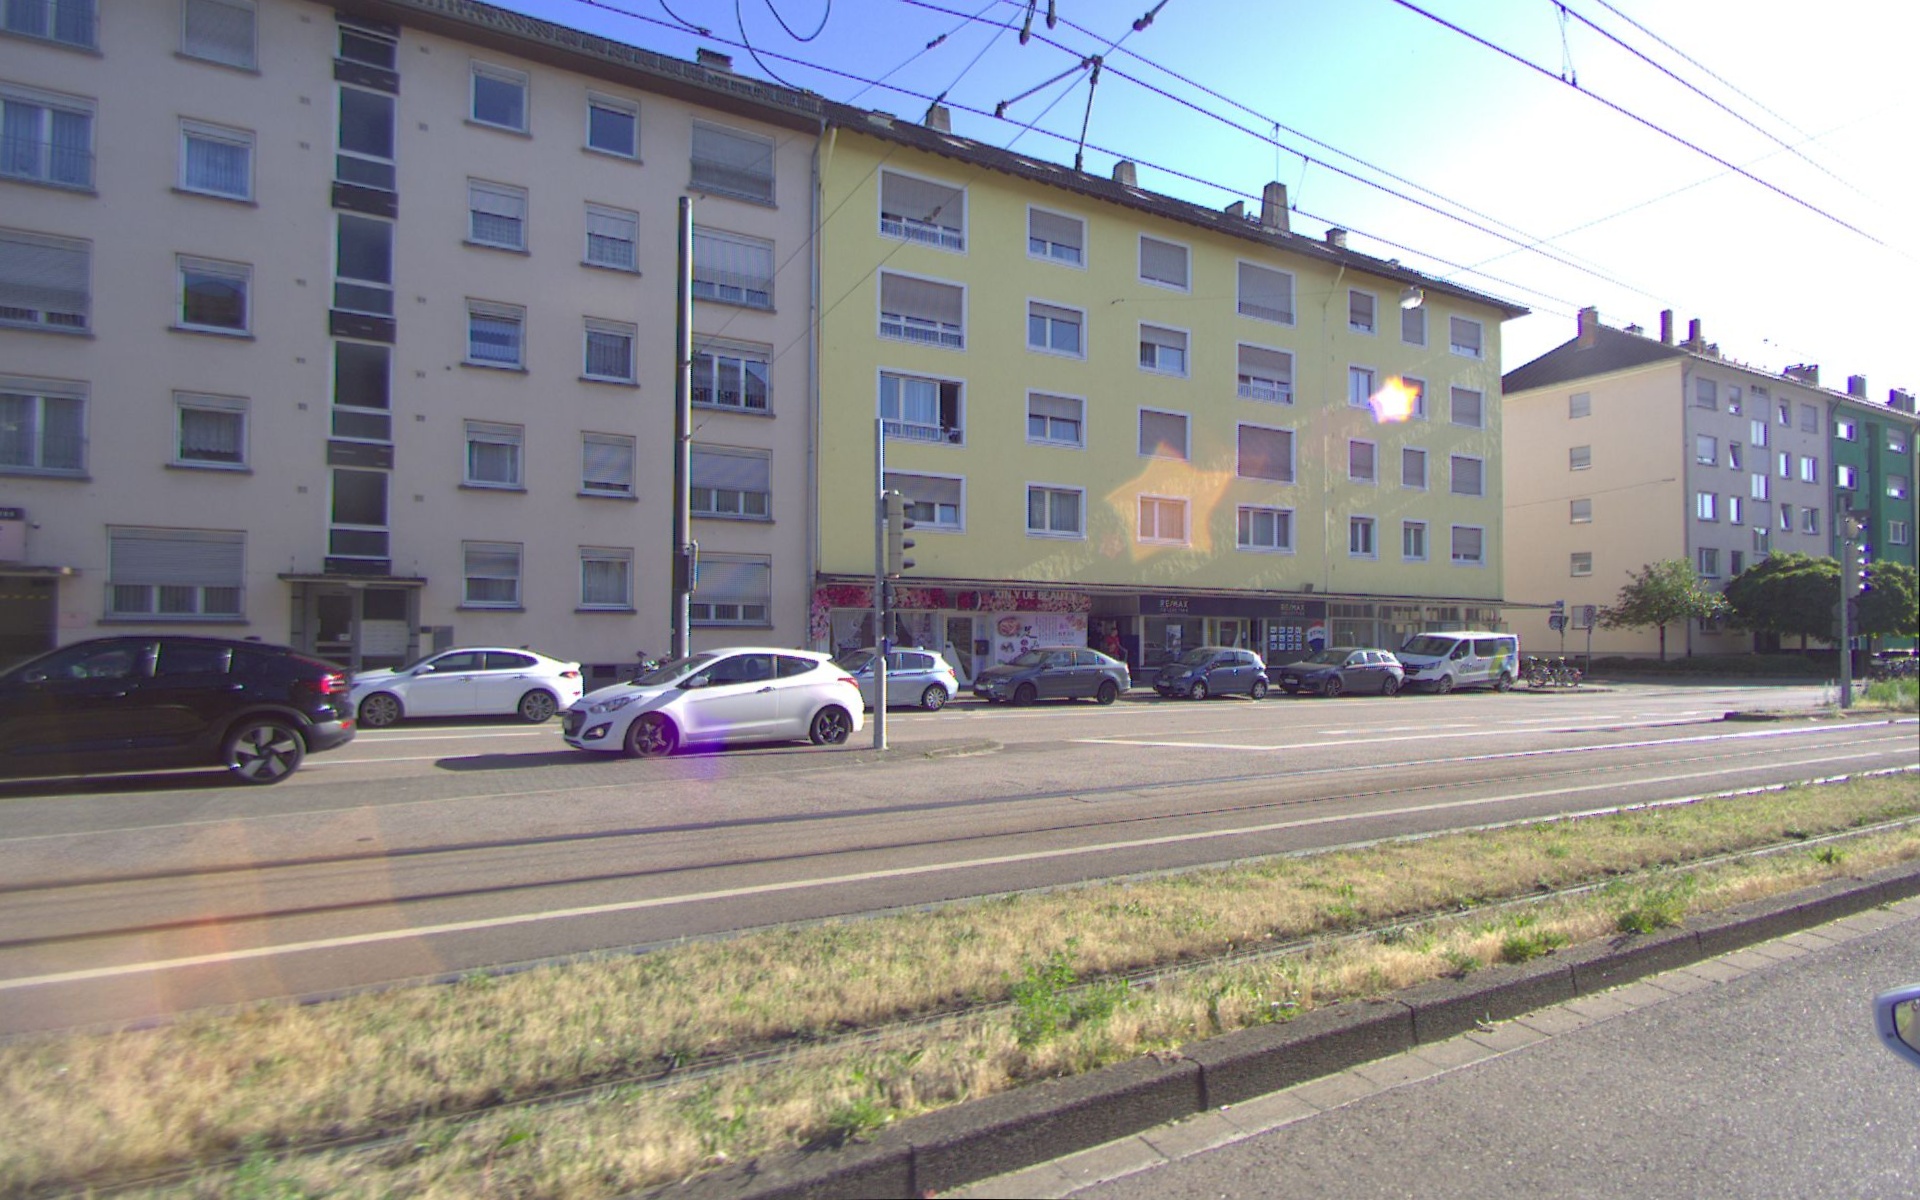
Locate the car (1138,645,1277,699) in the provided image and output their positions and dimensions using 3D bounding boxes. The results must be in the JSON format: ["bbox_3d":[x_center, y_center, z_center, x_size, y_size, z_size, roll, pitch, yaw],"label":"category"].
[{"bbox_3d":[7.210,2.052,29.245,3.723,1.403,1.775,2,0,-29],"label":"car"}]

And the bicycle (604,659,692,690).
[{"bbox_3d":[-7.610,1.808,24.537,1.971,0.702,0.599,2,0,-29],"label":"bicycle"}]

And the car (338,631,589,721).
[{"bbox_3d":[-9.498,1.403,19.383,4.149,1.506,1.750,2,0,-30],"label":"car"}]

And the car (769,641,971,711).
[{"bbox_3d":[-2.072,1.724,23.510,4.365,1.403,1.773,2,0,-31],"label":"car"}]

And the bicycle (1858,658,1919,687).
[{"bbox_3d":[40.145,3.105,43.324,0.607,1.107,2.043,1,0,-22],"label":"bicycle"}]

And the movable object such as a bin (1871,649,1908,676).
[{"bbox_3d":[50.982,3.447,55.102,1.025,1.386,1.143,2,0,-26],"label":"movable object such as a bin"}]

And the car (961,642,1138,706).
[{"bbox_3d":[2.373,1.883,26.247,4.362,1.439,1.775,2,0,-30],"label":"car"}]

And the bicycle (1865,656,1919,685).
[{"bbox_3d":[40.736,3.056,43.604,0.607,1.107,2.043,1,0,-22],"label":"bicycle"}]

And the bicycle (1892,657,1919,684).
[{"bbox_3d":[42.803,3.165,44.544,0.607,1.107,2.043,1,0,-22],"label":"bicycle"}]

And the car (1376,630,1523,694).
[{"bbox_3d":[16.926,2.099,34.648,5.440,1.975,1.982,2,0,-32],"label":"car"}]

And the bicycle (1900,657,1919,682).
[{"bbox_3d":[43.840,3.194,45.474,0.603,1.107,2.054,2,0,-1],"label":"bicycle"}]

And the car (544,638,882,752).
[{"bbox_3d":[-3.454,1.257,14.407,4.371,1.403,1.822,2,-3,-35],"label":"car"}]

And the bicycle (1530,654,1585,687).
[{"bbox_3d":[22.477,2.646,37.818,0.385,1.120,1.812,1,0,-28],"label":"bicycle"}]

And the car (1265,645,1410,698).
[{"bbox_3d":[11.921,2.209,31.637,4.541,1.494,1.775,2,0,-30],"label":"car"}]

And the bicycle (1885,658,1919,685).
[{"bbox_3d":[42.180,3.161,44.238,0.607,1.107,2.043,1,0,-22],"label":"bicycle"}]

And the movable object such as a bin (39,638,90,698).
[{"bbox_3d":[-16.984,1.281,19.056,0.539,1.065,0.769,1,0,-29],"label":"movable object such as a bin"}]

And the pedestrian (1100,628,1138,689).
[{"bbox_3d":[5.034,1.836,31.793,0.912,1.885,0.668,1,0,-29],"label":"pedestrian"}]

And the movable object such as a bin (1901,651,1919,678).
[{"bbox_3d":[51.540,3.466,53.936,1.025,1.386,1.143,2,0,-26],"label":"movable object such as a bin"}]

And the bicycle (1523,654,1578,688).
[{"bbox_3d":[22.100,2.643,37.612,0.385,1.120,1.812,1,0,-28],"label":"bicycle"}]

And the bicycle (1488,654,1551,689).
[{"bbox_3d":[20.538,2.592,36.905,0.467,1.120,2.089,1,0,-28],"label":"bicycle"}]

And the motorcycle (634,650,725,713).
[{"bbox_3d":[-5.917,1.698,21.149,2.073,1.154,0.486,2,0,28],"label":"motorcycle"}]

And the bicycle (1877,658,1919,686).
[{"bbox_3d":[41.544,3.141,43.920,0.607,1.107,2.043,1,0,-22],"label":"bicycle"}]

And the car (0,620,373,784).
[{"bbox_3d":[-8.868,1.024,10.730,4.370,1.548,1.772,2,-3,-34],"label":"car"}]
